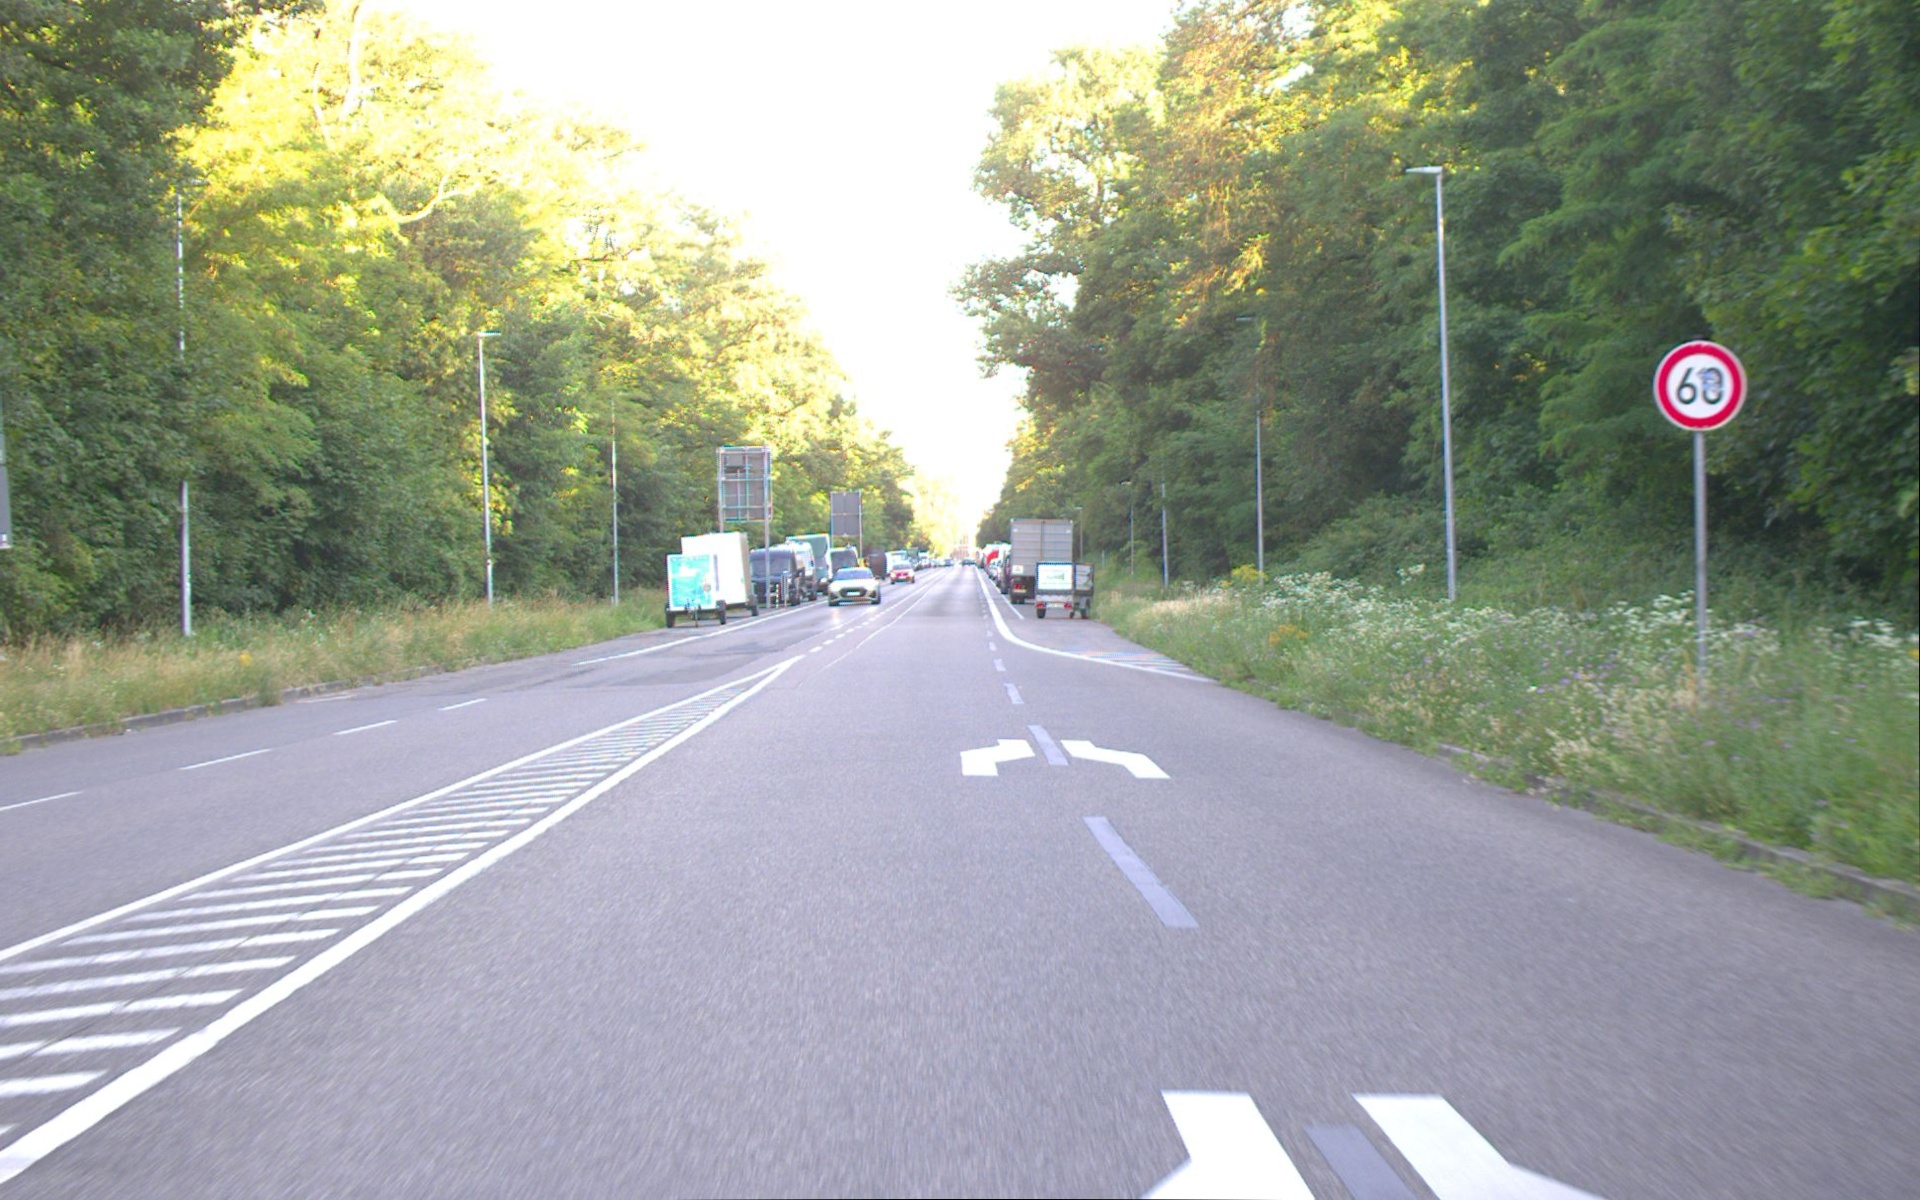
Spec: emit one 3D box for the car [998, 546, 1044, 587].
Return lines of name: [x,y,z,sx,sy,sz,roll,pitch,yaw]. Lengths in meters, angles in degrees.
car: [2.923,-1.600,166.335,1.993,1.948,4.300,0,0,-2]

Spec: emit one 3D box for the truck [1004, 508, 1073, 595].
truck: [3.029,-1.854,132.420,2.589,3.244,7.220,0,0,2]

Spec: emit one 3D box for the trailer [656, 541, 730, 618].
trailer: [-7.783,-0.617,100.343,1.817,2.160,4.143,-2,1,-1]

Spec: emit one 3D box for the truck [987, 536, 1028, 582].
truck: [2.699,-2.344,197.883,2.141,2.650,4.300,0,0,-2]

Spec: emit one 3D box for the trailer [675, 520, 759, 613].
trailer: [-8.169,-1.145,115.951,2.326,2.914,5.627,-3,1,-1]

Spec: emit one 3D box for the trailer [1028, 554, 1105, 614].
trailer: [3.123,-0.484,99.851,1.457,1.656,3.775,-2,1,13]

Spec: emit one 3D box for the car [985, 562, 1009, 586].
car: [2.214,-1.554,205.280,1.147,1.247,2.754,-9,2,-2]

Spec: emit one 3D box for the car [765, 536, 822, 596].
car: [-7.676,-1.605,158.811,2.249,2.638,5.721,-2,1,0]

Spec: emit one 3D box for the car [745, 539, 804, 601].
car: [-7.616,-1.256,141.466,1.993,2.356,5.766,-4,1,0]

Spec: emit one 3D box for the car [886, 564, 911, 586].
car: [-4.350,-1.797,242.426,1.682,1.481,4.038,-2,1,-2]

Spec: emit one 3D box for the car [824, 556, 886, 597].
car: [-4.119,-0.939,135.459,2.064,1.430,4.466,-3,2,3]

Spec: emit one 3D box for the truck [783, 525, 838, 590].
truck: [-7.987,-2.282,184.386,2.504,3.317,6.842,-2,1,0]
